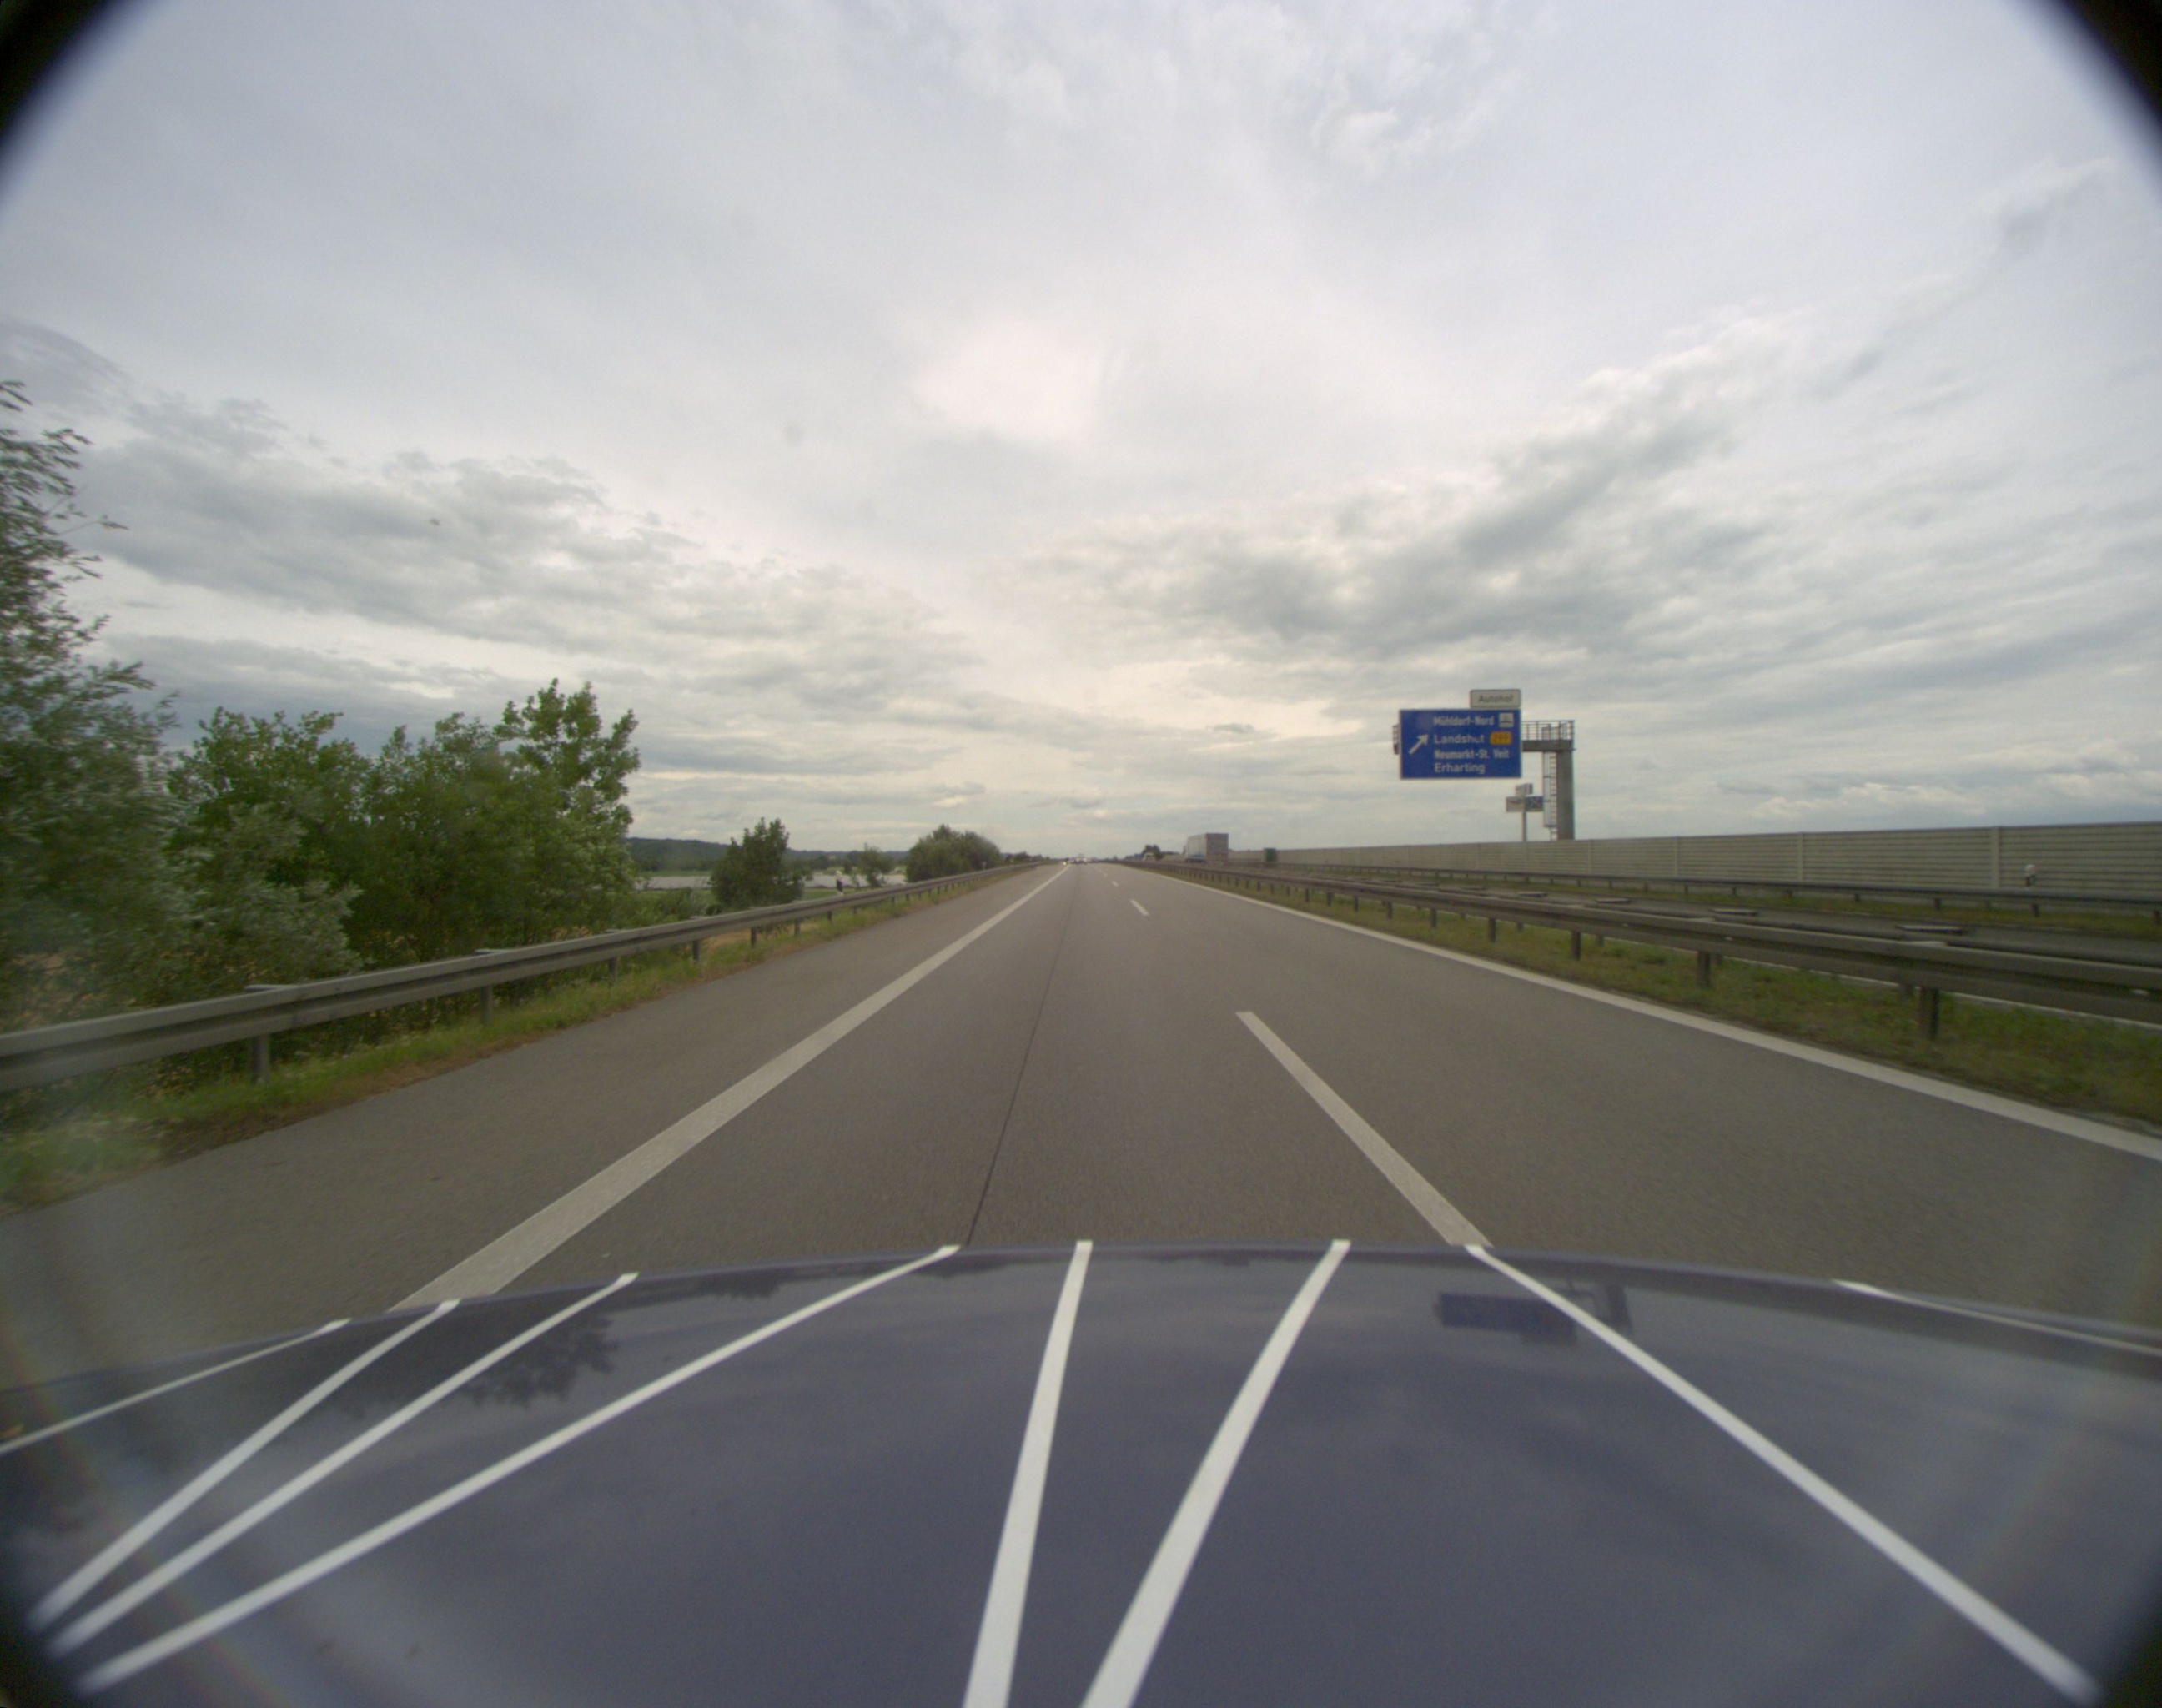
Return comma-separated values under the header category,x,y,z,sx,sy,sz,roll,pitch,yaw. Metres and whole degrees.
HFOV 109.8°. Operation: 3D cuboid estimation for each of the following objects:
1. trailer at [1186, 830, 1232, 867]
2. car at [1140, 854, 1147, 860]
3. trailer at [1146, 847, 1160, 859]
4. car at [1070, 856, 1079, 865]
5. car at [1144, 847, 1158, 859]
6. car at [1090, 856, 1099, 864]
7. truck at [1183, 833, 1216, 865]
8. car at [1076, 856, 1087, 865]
category,x,y,z,sx,sy,sz,roll,pitch,yaw
trailer,15.429,-0.645,92.652,3.187,4.052,14.023,1,0,0
car,18.256,0.880,223.539,1.708,1.486,4.566,1,0,0
trailer,11.558,-0.191,121.893,1.819,1.836,3.863,-6,0,0
car,-1.437,1.479,172.783,1.851,1.849,4.000,1,-1,-3
car,11.585,-0.212,125.918,1.819,1.836,4.180,-6,0,0
car,3.053,1.358,174.803,1.850,1.664,4.200,0,-1,0
truck,15.415,-0.677,99.273,3.117,3.991,7.323,1,0,0
car,0.068,1.163,139.967,1.850,1.664,4.200,0,-1,0
